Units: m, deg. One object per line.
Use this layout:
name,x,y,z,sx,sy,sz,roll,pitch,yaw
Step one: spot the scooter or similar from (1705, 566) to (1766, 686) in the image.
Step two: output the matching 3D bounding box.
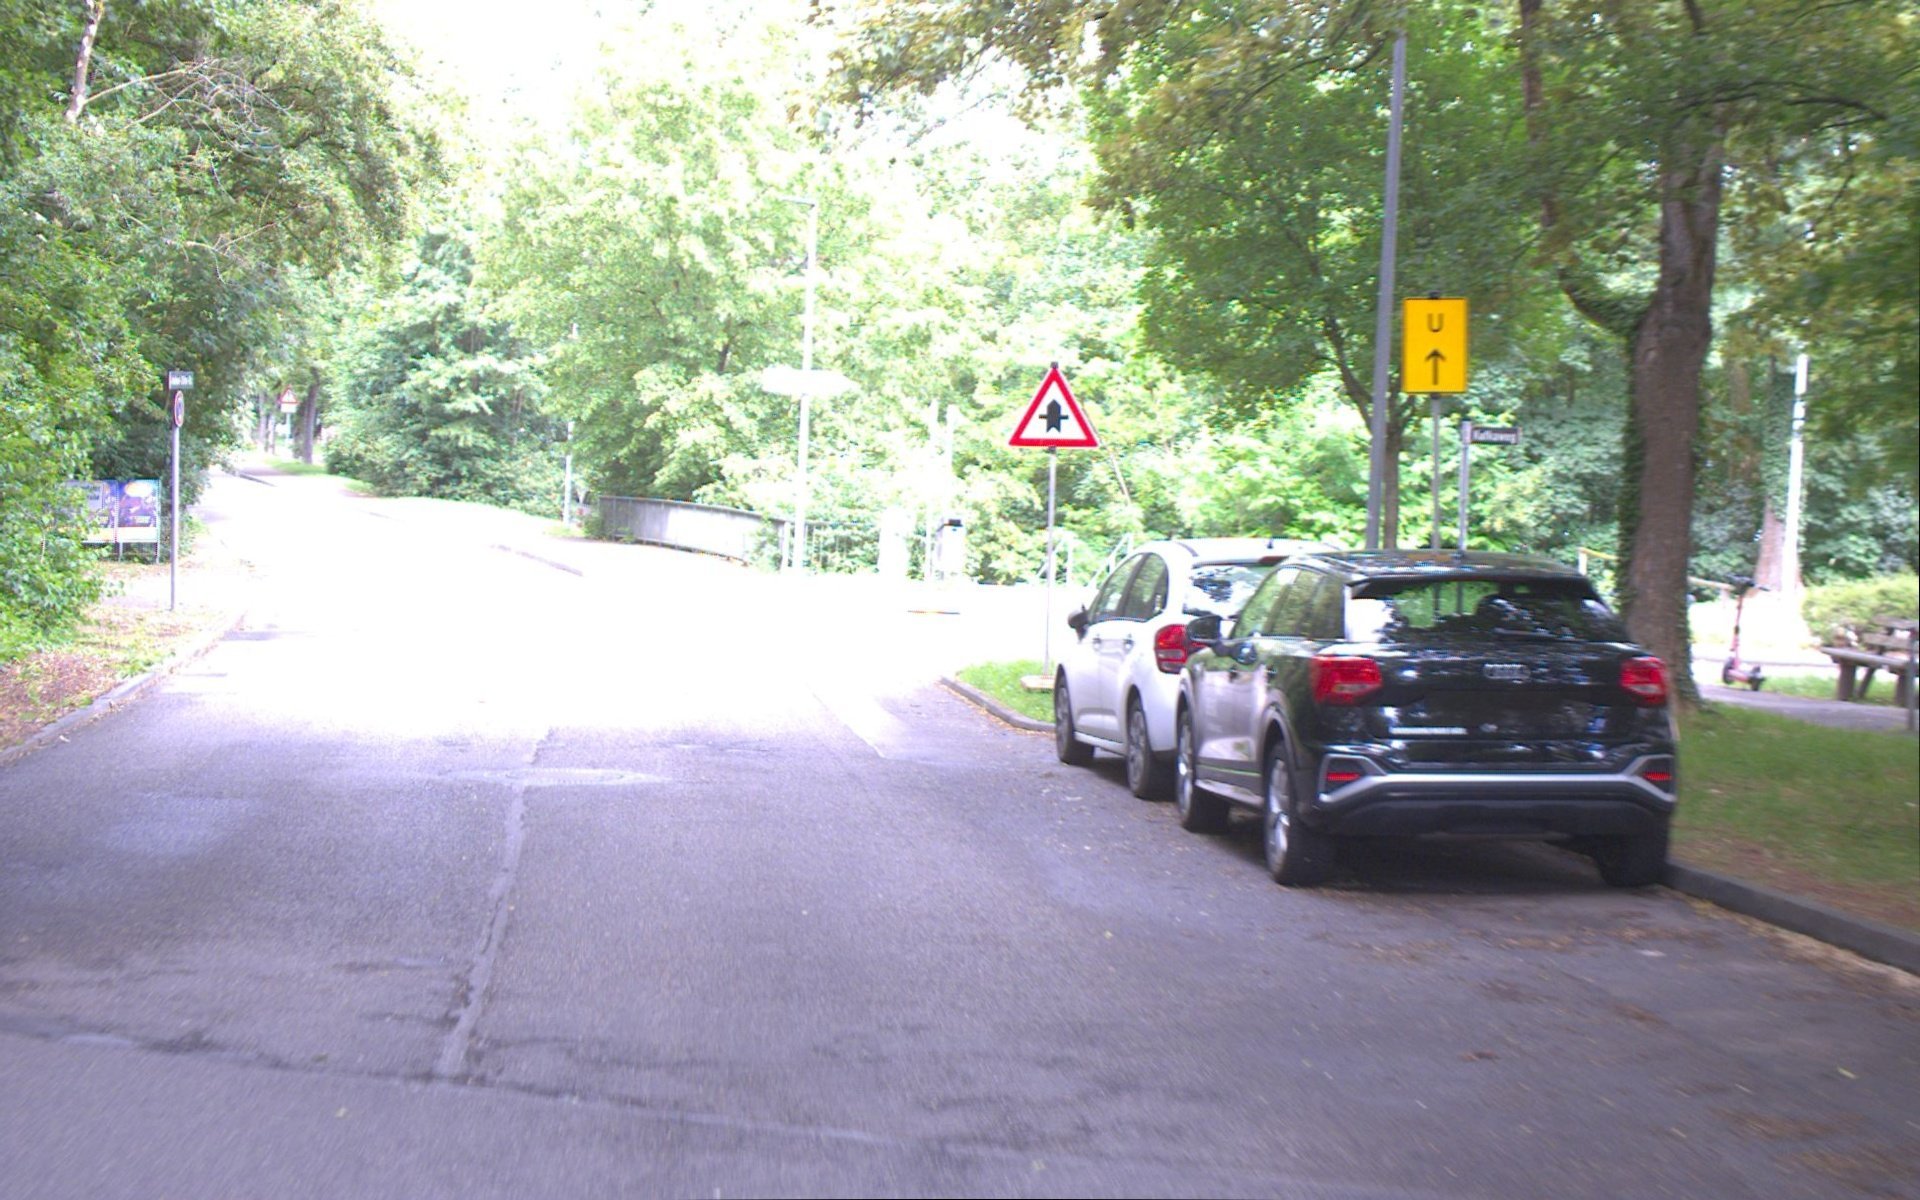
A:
scooter or similar,8.626,0.283,38.256,0.283,1.282,1.108,3,2,-4

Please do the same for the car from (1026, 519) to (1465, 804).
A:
car,1.658,0.310,21.271,1.773,1.517,3.782,2,1,-10

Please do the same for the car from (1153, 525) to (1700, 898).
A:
car,2.129,0.439,16.878,1.773,1.517,4.184,2,1,-4
